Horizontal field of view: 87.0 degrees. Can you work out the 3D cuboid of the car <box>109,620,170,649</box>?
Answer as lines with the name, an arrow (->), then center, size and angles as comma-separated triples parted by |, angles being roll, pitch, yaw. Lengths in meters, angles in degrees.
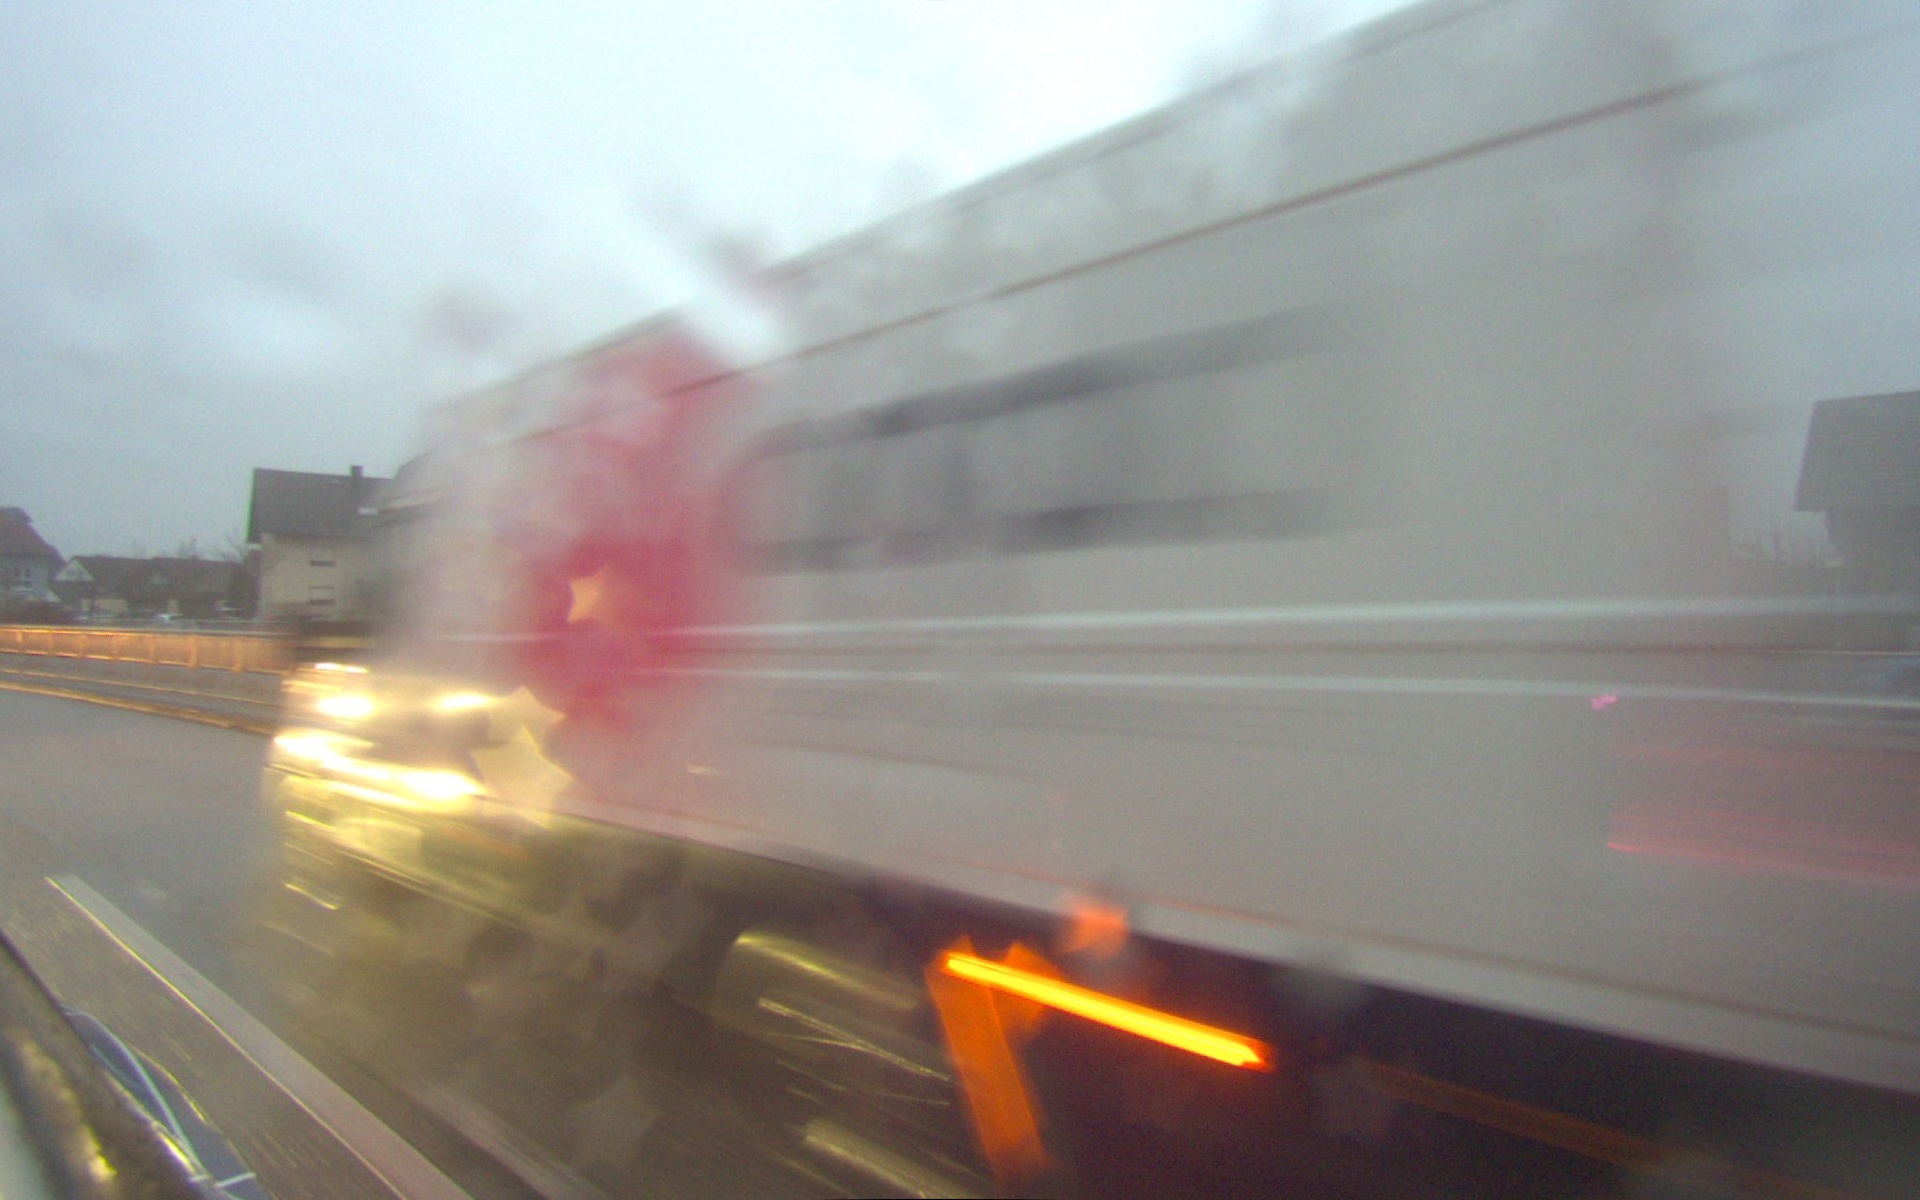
car -> -50.239, 2.075, 61.960 | 3.990, 1.529, 1.881 | 1, 2, 35

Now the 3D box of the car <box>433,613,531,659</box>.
car -> -19.323, 1.411, 40.904 | 3.991, 1.694, 1.843 | 0, 1, 35

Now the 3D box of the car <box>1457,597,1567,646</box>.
car -> 23.955, 0.898, 43.986 | 3.993, 2.029, 1.975 | 0, 1, 37

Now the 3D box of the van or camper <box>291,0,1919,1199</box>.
van or camper -> -0.345, 0.124, 3.951 | 6.554, 2.689, 2.216 | -2, -2, 42

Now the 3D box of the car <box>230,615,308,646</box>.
car -> -35.061, 1.506, 51.311 | 4.639, 1.453, 1.860 | 0, 0, 36

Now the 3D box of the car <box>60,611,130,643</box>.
car -> -56.554, 1.733, 66.160 | 4.338, 1.919, 1.981 | -1, 1, 28

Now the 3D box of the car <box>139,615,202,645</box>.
car -> -46.218, 1.733, 59.243 | 3.975, 1.636, 1.801 | -1, 1, 35

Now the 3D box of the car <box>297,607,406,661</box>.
car -> -21.726, 1.187, 36.111 | 3.848, 1.817, 1.786 | 0, -1, 32

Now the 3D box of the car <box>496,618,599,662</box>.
car -> -15.801, 1.497, 38.739 | 4.023, 1.535, 1.753 | 0, -1, 35
